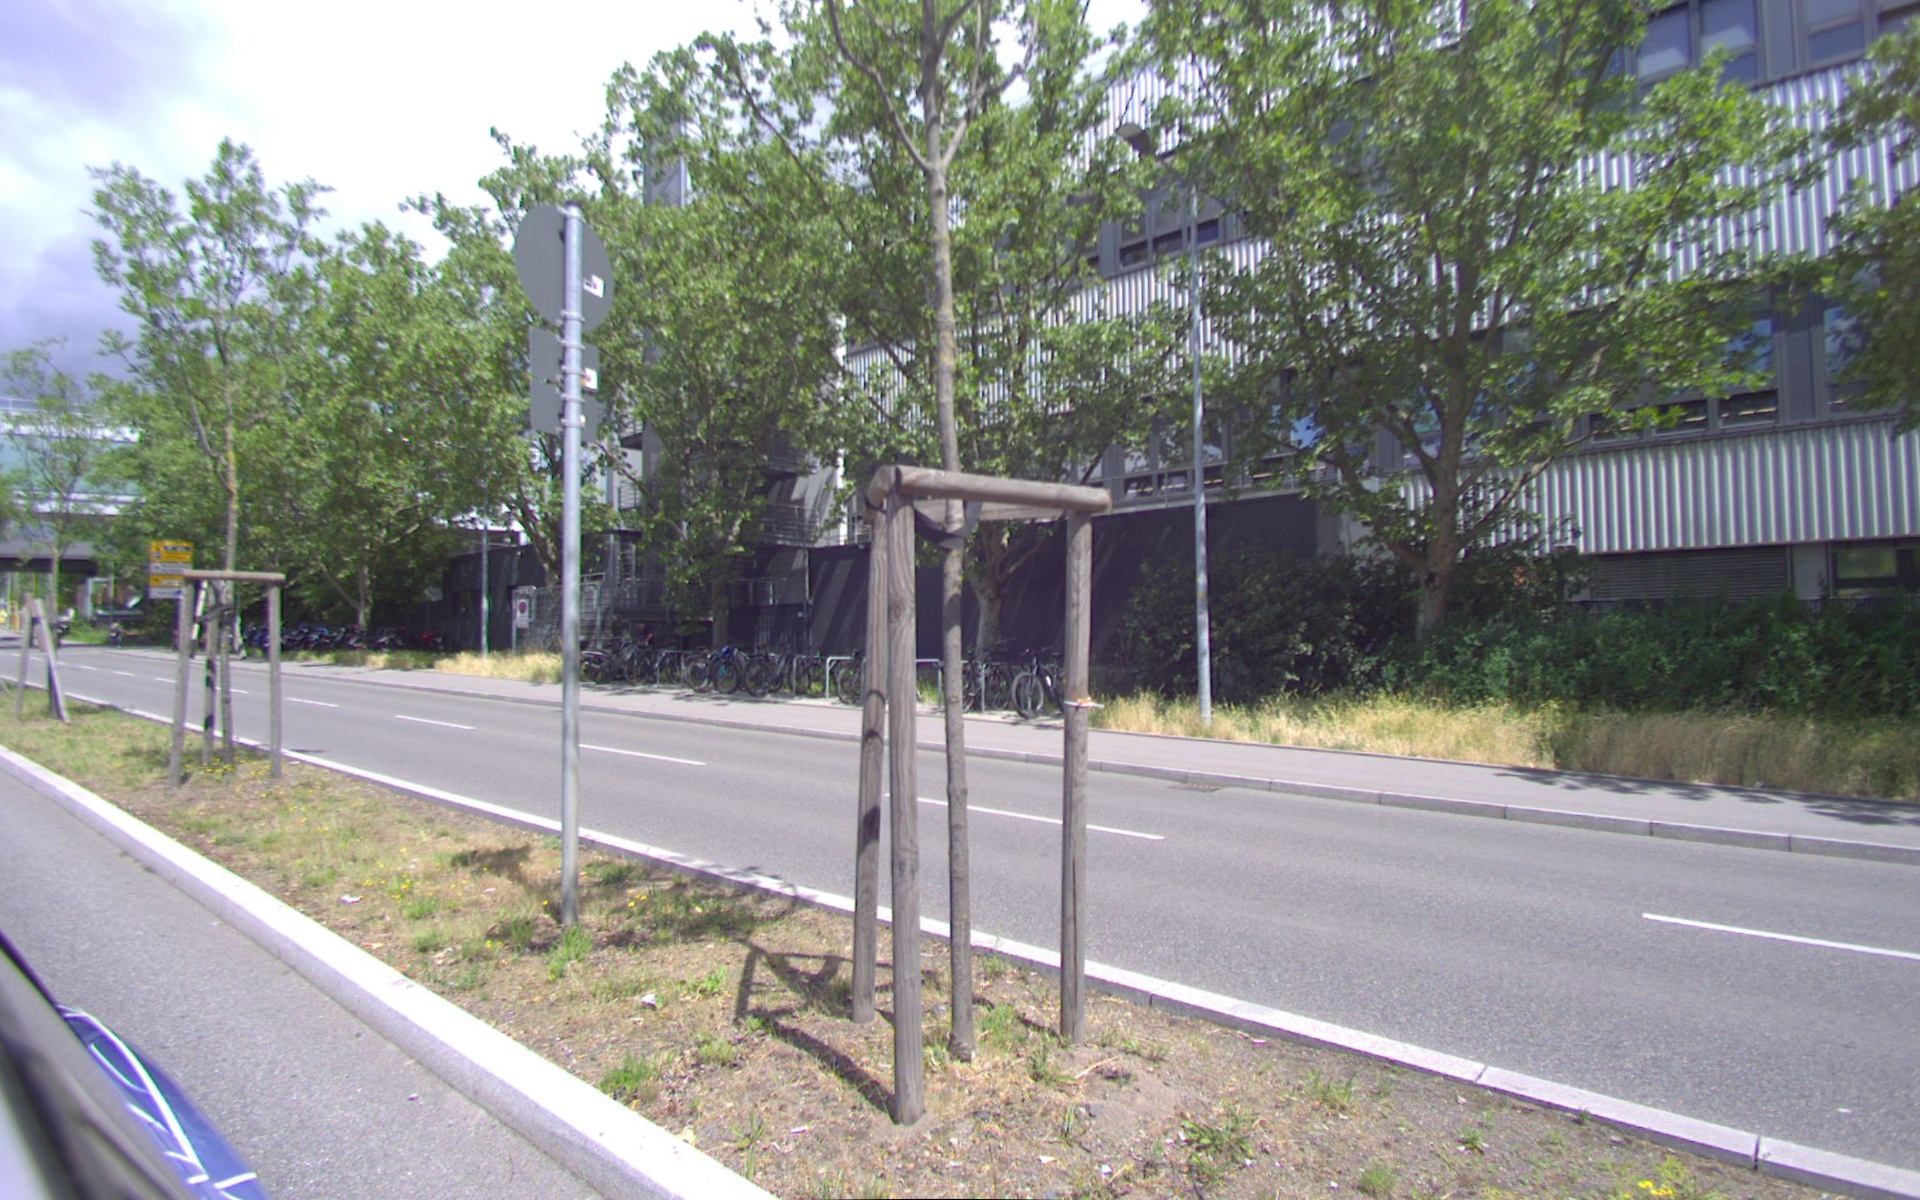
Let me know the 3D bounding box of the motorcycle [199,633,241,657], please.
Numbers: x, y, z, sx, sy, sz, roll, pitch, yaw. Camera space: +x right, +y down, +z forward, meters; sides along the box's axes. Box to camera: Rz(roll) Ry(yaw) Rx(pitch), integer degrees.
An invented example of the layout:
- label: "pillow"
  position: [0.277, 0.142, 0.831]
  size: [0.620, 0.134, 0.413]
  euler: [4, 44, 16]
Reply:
- label: "motorcycle"
  position: [-37.377, 2.277, 51.103]
  size: [0.776, 1.131, 1.574]
  euler: [-3, -1, 41]

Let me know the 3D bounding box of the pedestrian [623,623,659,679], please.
- label: "pedestrian"
  position: [-9.255, 1.462, 29.329]
  size: [0.744, 1.563, 0.822]
  euler: [0, -2, -40]

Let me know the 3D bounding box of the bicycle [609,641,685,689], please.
- label: "bicycle"
  position: [-7.719, 1.592, 25.038]
  size: [0.421, 1.083, 1.905]
  euler: [-2, -1, 38]

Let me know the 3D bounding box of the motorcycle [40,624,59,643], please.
- label: "motorcycle"
  position: [-62.432, 2.284, 69.400]
  size: [2.255, 1.207, 0.633]
  euler: [0, 1, 39]

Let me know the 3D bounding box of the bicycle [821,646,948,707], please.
- label: "bicycle"
  position: [-1.436, 1.450, 19.659]
  size: [2.532, 1.104, 0.697]
  euler: [2, -3, -40]

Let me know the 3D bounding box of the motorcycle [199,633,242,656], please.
- label: "motorcycle"
  position: [-36.514, 2.190, 50.002]
  size: [0.776, 1.041, 1.574]
  euler: [-3, -1, 41]

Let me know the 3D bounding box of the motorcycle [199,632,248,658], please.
- label: "motorcycle"
  position: [-35.781, 2.175, 49.192]
  size: [0.849, 1.188, 1.735]
  euler: [-3, -1, 28]

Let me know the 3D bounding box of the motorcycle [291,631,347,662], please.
- label: "motorcycle"
  position: [-27.154, 1.954, 42.864]
  size: [0.698, 1.188, 1.857]
  euler: [-3, -1, 43]

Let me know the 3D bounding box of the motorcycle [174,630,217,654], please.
- label: "motorcycle"
  position: [-40.189, 2.214, 53.214]
  size: [1.721, 1.180, 0.777]
  euler: [-2, -1, -42]

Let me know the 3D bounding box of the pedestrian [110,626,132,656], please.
- label: "pedestrian"
  position: [-47.121, 2.308, 56.843]
  size: [0.812, 1.624, 0.760]
  euler: [-1, 1, 39]

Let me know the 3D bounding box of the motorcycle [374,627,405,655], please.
- label: "motorcycle"
  position: [-25.714, 1.861, 45.616]
  size: [1.983, 1.219, 0.645]
  euler: [-3, -1, 45]

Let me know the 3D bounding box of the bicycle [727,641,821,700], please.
- label: "bicycle"
  position: [-3.871, 1.443, 21.180]
  size: [0.805, 1.131, 1.900]
  euler: [-1, -1, 38]

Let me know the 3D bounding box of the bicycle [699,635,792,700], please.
- label: "bicycle"
  position: [-4.602, 1.422, 21.858]
  size: [0.805, 1.292, 1.900]
  euler: [-1, -1, 38]

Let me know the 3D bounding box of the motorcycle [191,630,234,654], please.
- label: "motorcycle"
  position: [-38.285, 2.165, 51.870]
  size: [0.773, 1.131, 1.579]
  euler: [-3, -1, 31]

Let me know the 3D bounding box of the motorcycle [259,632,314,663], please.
- label: "motorcycle"
  position: [-28.671, 2.012, 43.105]
  size: [1.855, 1.188, 0.816]
  euler: [-2, -1, -41]

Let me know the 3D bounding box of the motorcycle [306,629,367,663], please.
- label: "motorcycle"
  position: [-23.793, 1.758, 38.638]
  size: [1.855, 1.182, 0.746]
  euler: [-2, -1, -41]

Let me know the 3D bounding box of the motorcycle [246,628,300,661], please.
- label: "motorcycle"
  position: [-30.608, 1.990, 45.109]
  size: [1.905, 1.354, 0.867]
  euler: [-2, -1, -30]

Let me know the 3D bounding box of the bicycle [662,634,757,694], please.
- label: "bicycle"
  position: [-5.831, 1.456, 23.635]
  size: [0.805, 1.292, 2.113]
  euler: [-1, -1, 38]

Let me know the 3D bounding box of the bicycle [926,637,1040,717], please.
- label: "bicycle"
  position: [0.436, 1.291, 17.561]
  size: [0.555, 1.267, 2.379]
  euler: [-2, -2, 42]

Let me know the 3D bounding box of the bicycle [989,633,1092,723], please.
- label: "bicycle"
  position: [1.360, 1.243, 16.710]
  size: [0.489, 1.374, 2.144]
  euler: [-2, -2, 42]

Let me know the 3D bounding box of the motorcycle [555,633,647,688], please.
- label: "motorcycle"
  position: [-9.094, 1.507, 25.700]
  size: [0.805, 1.319, 2.113]
  euler: [-1, -1, 38]

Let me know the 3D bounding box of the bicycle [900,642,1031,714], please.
- label: "bicycle"
  position: [0.139, 1.398, 18.642]
  size: [2.533, 1.166, 0.727]
  euler: [0, -1, -40]

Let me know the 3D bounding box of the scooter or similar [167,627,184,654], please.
- label: "scooter or similar"
  position: [-38.364, 1.973, 49.462]
  size: [1.478, 1.245, 0.350]
  euler: [0, 0, 40]

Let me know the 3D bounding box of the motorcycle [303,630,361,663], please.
- label: "motorcycle"
  position: [-25.030, 1.834, 40.367]
  size: [1.855, 1.195, 0.730]
  euler: [-2, 0, -42]

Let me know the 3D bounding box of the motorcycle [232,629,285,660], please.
- label: "motorcycle"
  position: [-32.324, 2.035, 46.669]
  size: [1.905, 1.300, 0.895]
  euler: [-2, -1, -30]

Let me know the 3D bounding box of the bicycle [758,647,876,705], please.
- label: "bicycle"
  position: [-2.906, 1.527, 20.947]
  size: [0.848, 1.014, 2.814]
  euler: [-1, -1, 31]

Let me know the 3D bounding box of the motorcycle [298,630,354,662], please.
- label: "motorcycle"
  position: [-26.347, 1.899, 42.078]
  size: [0.655, 1.219, 1.857]
  euler: [-3, -1, 43]

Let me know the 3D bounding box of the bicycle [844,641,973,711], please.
- label: "bicycle"
  position: [-0.934, 1.395, 18.992]
  size: [2.533, 1.166, 0.645]
  euler: [0, -1, -40]

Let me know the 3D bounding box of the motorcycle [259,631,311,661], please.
- label: "motorcycle"
  position: [-29.483, 2.003, 44.196]
  size: [1.853, 1.188, 0.817]
  euler: [-2, -1, -35]

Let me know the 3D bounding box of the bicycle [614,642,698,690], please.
- label: "bicycle"
  position: [-7.396, 1.583, 24.693]
  size: [0.496, 1.070, 2.061]
  euler: [-2, -1, 38]

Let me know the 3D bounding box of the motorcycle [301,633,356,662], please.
- label: "motorcycle"
  position: [-25.709, 1.924, 41.215]
  size: [1.853, 1.093, 0.796]
  euler: [-2, -1, -35]

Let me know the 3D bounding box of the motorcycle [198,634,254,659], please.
- label: "motorcycle"
  position: [-35.057, 2.244, 48.371]
  size: [0.917, 1.124, 1.919]
  euler: [0, -3, 28]

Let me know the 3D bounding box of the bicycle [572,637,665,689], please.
- label: "bicycle"
  position: [-8.498, 1.539, 25.268]
  size: [0.805, 1.189, 2.113]
  euler: [-1, -1, 38]

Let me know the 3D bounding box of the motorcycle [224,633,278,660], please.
- label: "motorcycle"
  position: [-33.375, 2.178, 47.676]
  size: [1.904, 1.124, 0.924]
  euler: [-2, -1, -23]

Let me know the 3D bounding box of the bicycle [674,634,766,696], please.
- label: "bicycle"
  position: [-5.306, 1.412, 22.454]
  size: [0.805, 1.292, 1.900]
  euler: [-1, -1, 38]
